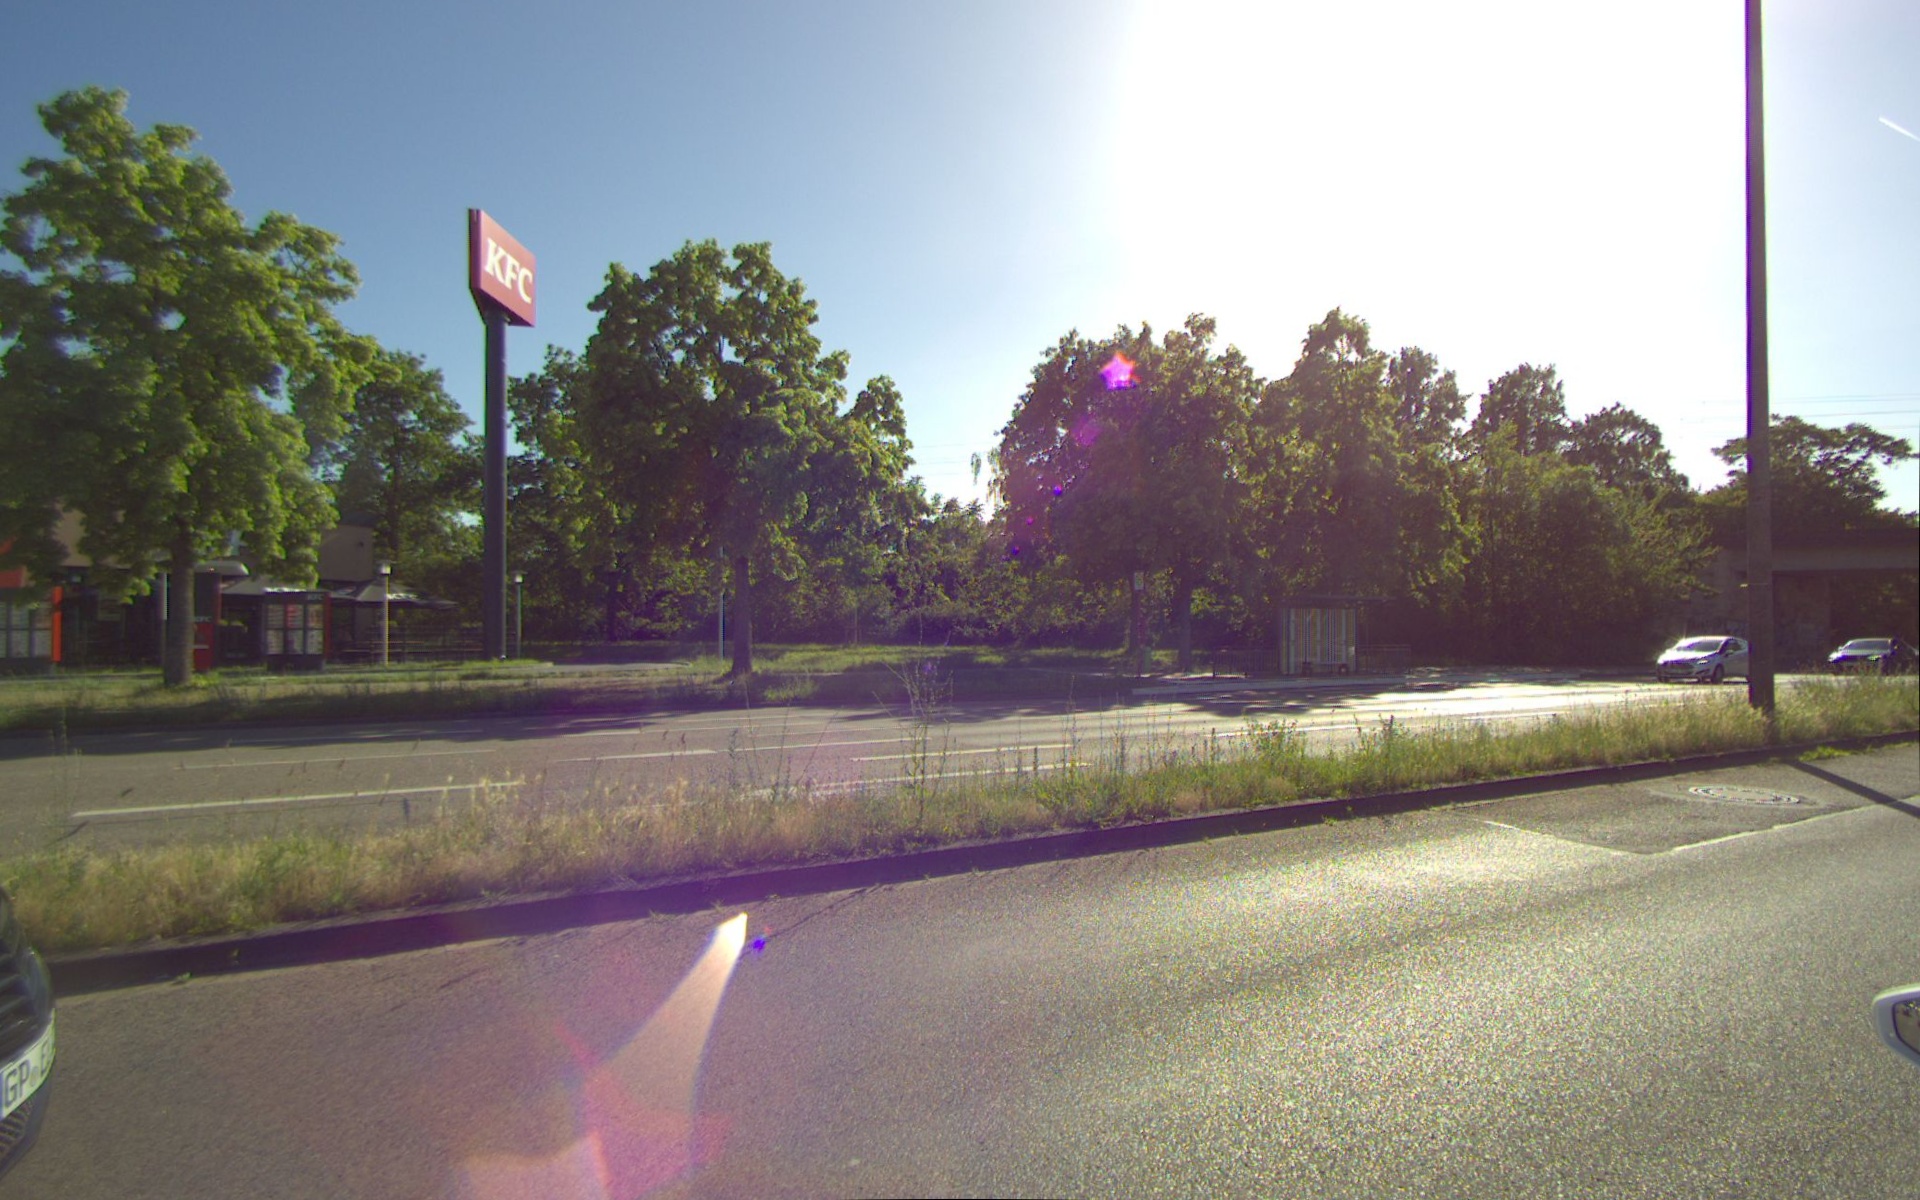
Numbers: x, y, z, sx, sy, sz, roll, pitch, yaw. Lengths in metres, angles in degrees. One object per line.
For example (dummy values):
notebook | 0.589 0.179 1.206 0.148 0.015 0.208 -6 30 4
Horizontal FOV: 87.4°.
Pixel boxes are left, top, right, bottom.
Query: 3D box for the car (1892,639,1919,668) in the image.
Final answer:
car | 50.813 2.793 52.457 4.438 1.473 1.905 2 -4 -31

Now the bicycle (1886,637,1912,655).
bicycle | 56.884 2.793 60.856 1.695 1.044 0.680 1 0 -31

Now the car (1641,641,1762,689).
car | 23.795 2.065 32.210 4.064 1.469 1.633 2 -4 -31

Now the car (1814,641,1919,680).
car | 35.442 2.359 39.217 4.577 1.453 1.809 2 -4 -31

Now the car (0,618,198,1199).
car | -4.111 0.755 1.181 4.860 1.502 1.950 1 -1 -30

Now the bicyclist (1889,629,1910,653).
bicyclist | 56.944 2.499 60.884 1.015 1.420 0.677 1 0 -31
